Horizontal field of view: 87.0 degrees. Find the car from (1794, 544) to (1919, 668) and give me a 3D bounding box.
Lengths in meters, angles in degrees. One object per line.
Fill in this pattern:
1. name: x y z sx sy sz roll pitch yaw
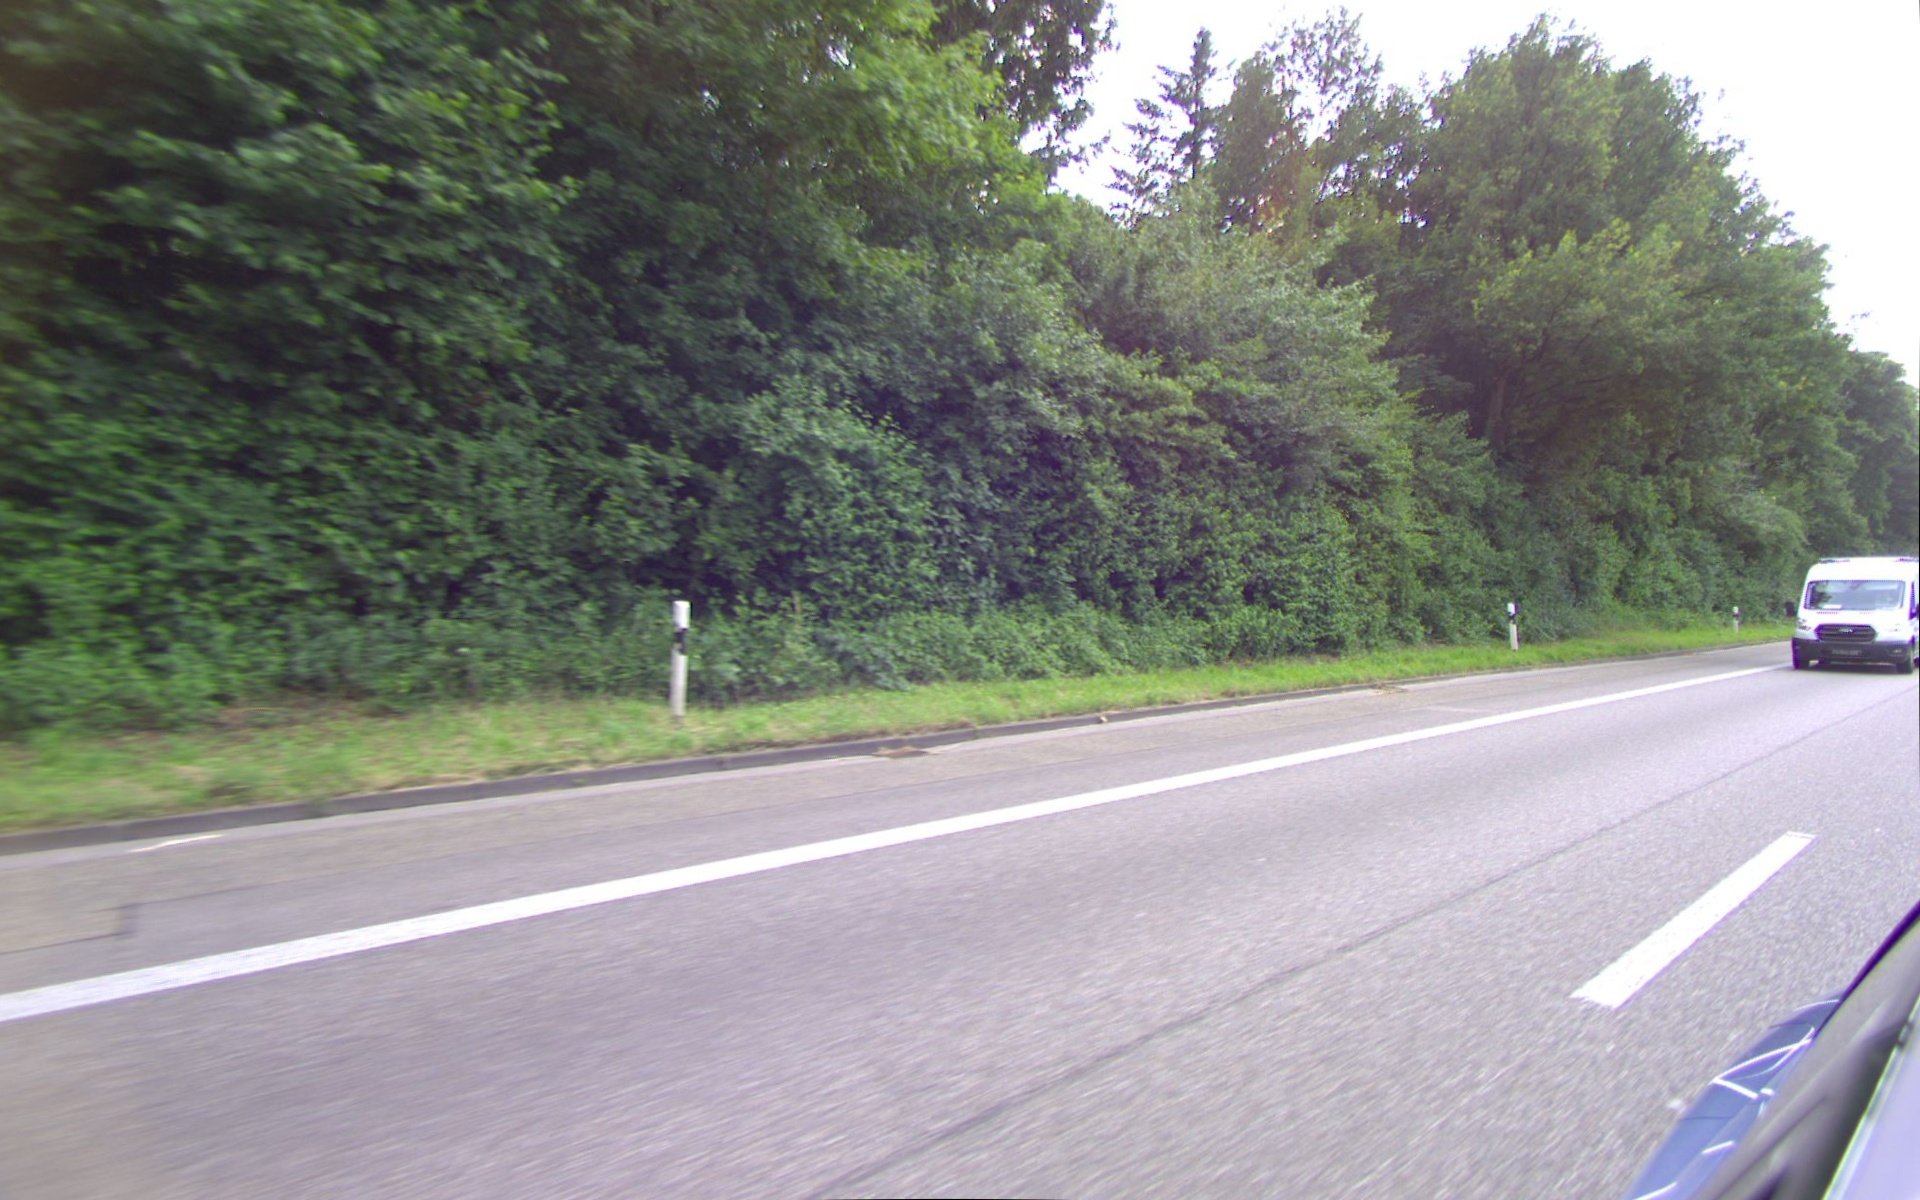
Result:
1. car: 20.878 0.109 23.054 5.187 2.539 2.102 0 0 -41
